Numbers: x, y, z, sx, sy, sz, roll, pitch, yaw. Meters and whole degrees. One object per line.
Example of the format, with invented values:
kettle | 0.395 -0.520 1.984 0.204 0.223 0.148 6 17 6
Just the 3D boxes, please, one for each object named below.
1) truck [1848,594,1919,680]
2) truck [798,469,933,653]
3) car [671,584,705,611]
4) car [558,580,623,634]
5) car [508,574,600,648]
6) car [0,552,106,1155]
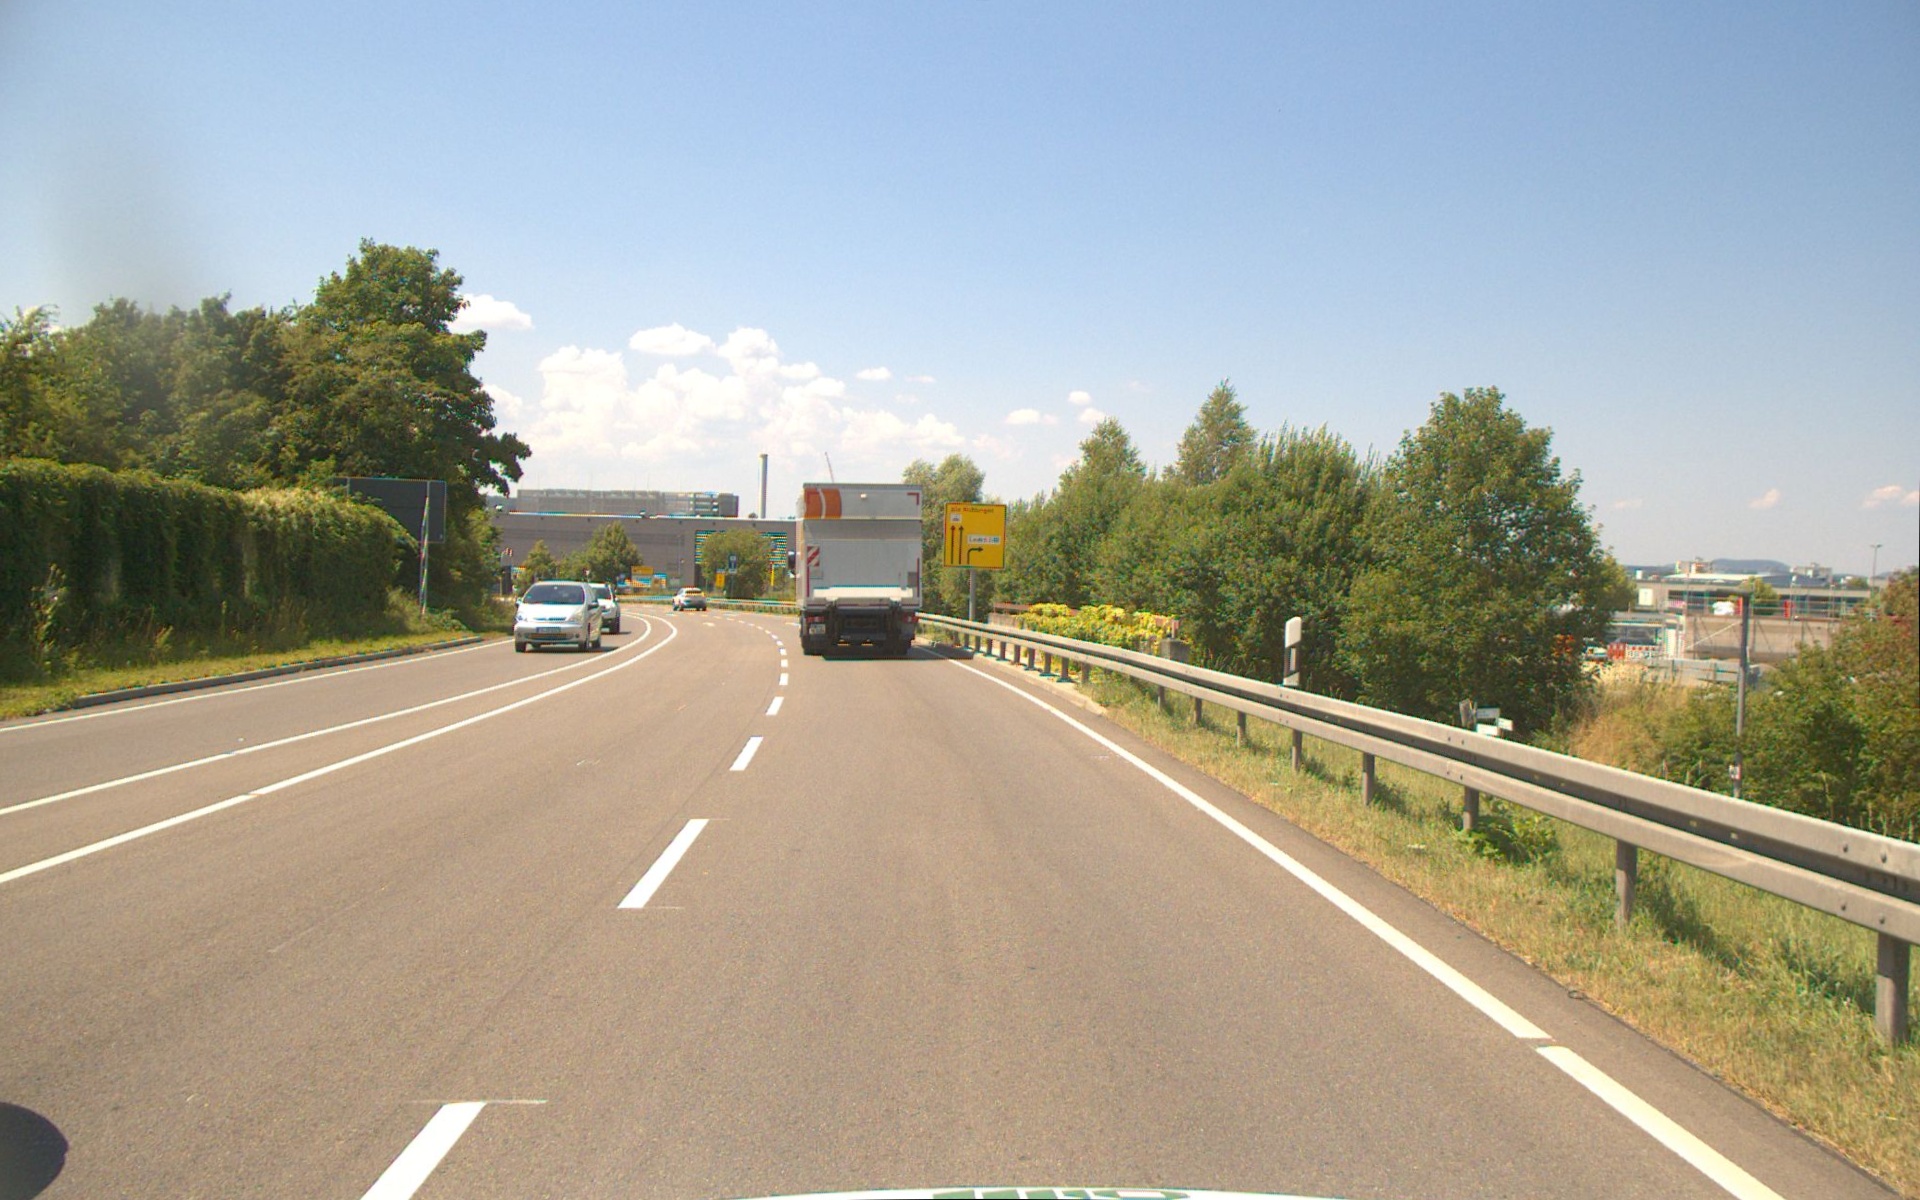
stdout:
truck | 46.301 1.879 76.031 9.228 3.747 3.121 4 2 34
truck | -2.150 -0.872 38.737 2.747 3.775 9.104 0 1 -3
car | -18.319 -0.181 111.205 1.911 1.693 3.985 3 -1 -14
car | -12.008 0.192 53.953 1.958 1.657 4.185 0 1 -12
car | -9.543 0.210 39.194 1.804 1.620 4.805 1 1 -10
car | -3.215 0.671 2.554 1.619 1.519 4.208 1 1 0
